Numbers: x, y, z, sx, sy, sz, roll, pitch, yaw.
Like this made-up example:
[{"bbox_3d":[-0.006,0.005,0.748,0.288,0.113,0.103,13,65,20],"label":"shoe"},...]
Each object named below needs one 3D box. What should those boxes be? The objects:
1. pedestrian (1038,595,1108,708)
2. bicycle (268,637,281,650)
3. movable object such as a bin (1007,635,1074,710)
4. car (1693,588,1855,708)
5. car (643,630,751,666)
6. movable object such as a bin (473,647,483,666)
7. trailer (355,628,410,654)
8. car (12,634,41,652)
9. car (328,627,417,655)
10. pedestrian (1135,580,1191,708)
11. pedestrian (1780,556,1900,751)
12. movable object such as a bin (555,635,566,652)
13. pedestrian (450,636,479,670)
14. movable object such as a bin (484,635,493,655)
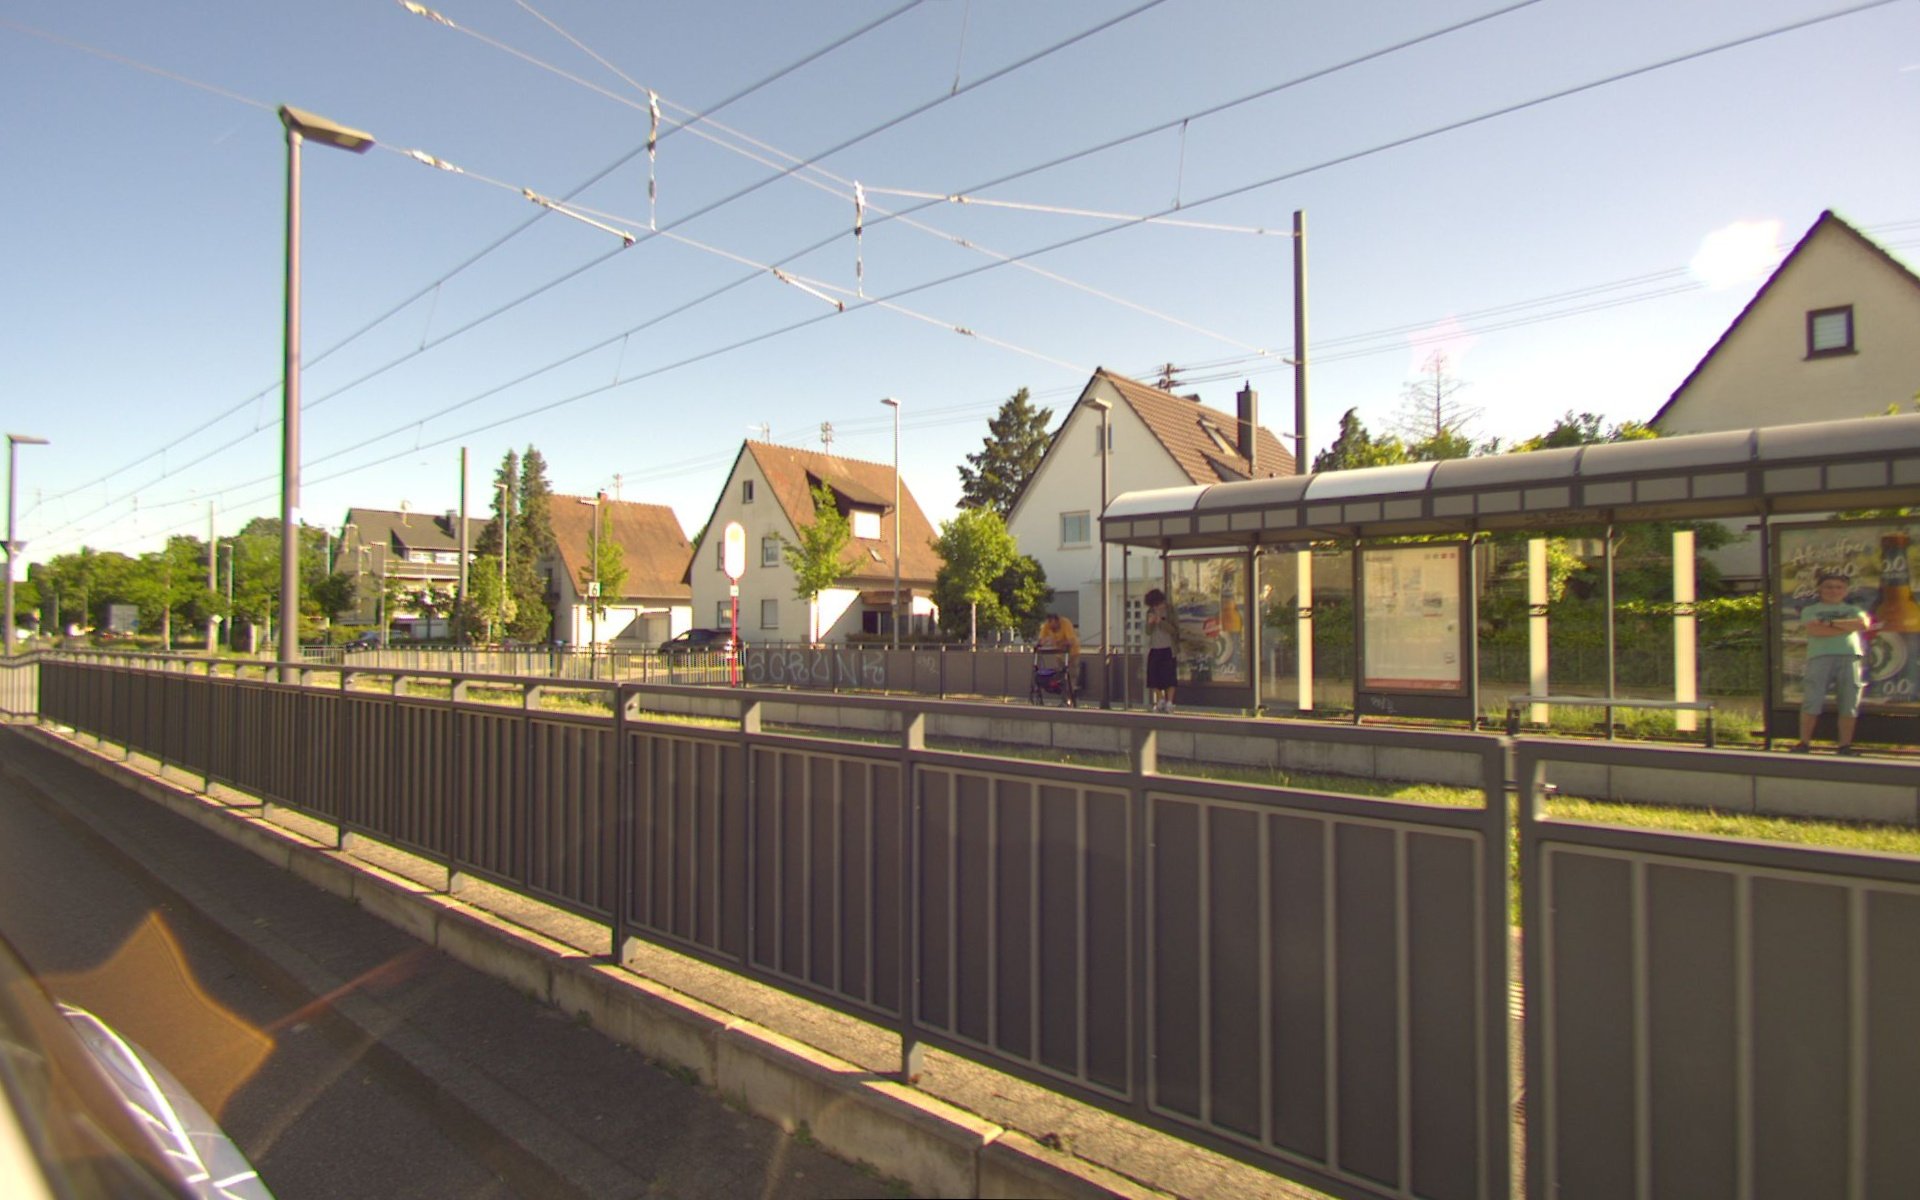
[{"bbox_3d":[1.612,0.727,14.453,0.748,1.547,0.669,-2,-3,37],"label":"pedestrian"},{"bbox_3d":[-50.916,3.211,75.149,1.748,0.949,0.419,-1,0,41],"label":"bicycle"},{"bbox_3d":[1.115,0.991,14.042,0.740,0.995,0.541,-2,-3,37],"label":"movable object such as a bin"},{"bbox_3d":[14.968,0.791,18.828,1.927,1.984,3.955,-1,0,33],"label":"car"},{"bbox_3d":[-11.303,2.013,43.286,5.160,1.461,1.914,-2,-2,41],"label":"car"},{"bbox_3d":[-24.577,2.882,51.620,0.350,0.977,0.323,-1,0,37],"label":"movable object such as a bin"},{"bbox_3d":[-38.423,2.717,67.379,1.397,1.660,2.885,-2,-2,38],"label":"trailer"},{"bbox_3d":[-100.679,4.633,109.152,4.702,1.929,1.877,-2,-3,43],"label":"car"},{"bbox_3d":[-37.605,2.599,64.850,2.044,1.748,4.509,-1,-2,29],"label":"car"},{"bbox_3d":[2.828,0.609,14.074,0.580,1.721,0.515,-2,-3,37],"label":"pedestrian"},{"bbox_3d":[8.109,0.491,9.341,0.771,1.709,0.495,-2,-5,42],"label":"pedestrian"},{"bbox_3d":[-21.645,2.365,54.870,0.451,0.904,0.367,-1,0,37],"label":"movable object such as a bin"},{"bbox_3d":[-24.236,2.577,49.506,1.085,1.653,0.955,-2,-2,41],"label":"pedestrian"},{"bbox_3d":[-24.198,2.311,51.965,0.333,0.973,0.295,-1,0,37],"label":"movable object such as a bin"}]
